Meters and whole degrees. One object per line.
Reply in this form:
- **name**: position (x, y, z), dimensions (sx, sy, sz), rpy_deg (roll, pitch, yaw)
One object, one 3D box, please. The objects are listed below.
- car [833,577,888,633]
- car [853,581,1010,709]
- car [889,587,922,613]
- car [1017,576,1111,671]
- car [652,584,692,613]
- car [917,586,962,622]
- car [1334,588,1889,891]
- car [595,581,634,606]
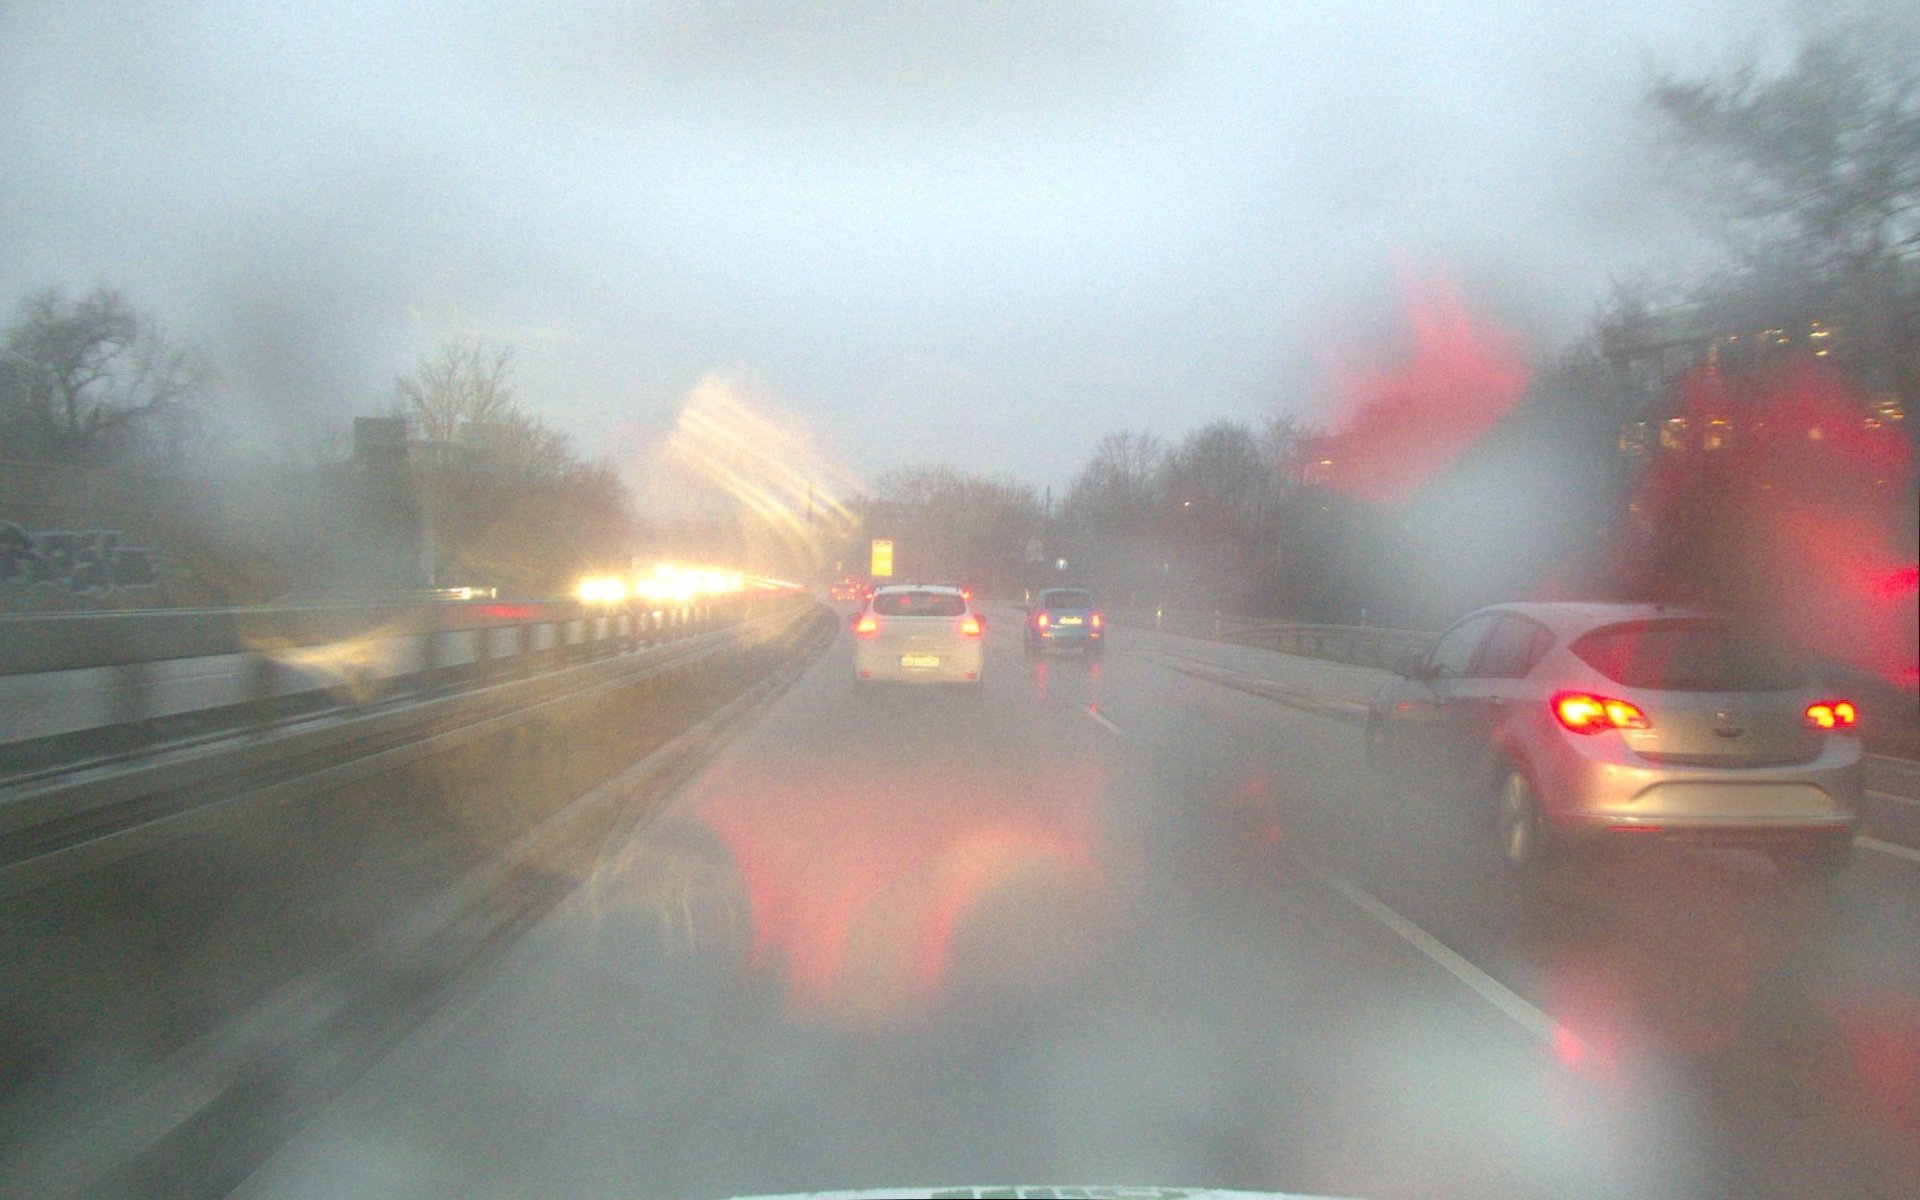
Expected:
- **car**: position (-3.849, 0.168, 63.426), dimensions (1.955, 2.049, 3.996), rpy_deg (1, 0, -5)
- **car**: position (-0.444, 0.568, 23.172), dimensions (1.984, 1.602, 3.998), rpy_deg (1, 0, -3)
- **car**: position (-3.470, 0.020, 104.111), dimensions (1.894, 1.573, 3.770), rpy_deg (1, 0, -4)
- **car**: position (2.357, 0.504, 38.390), dimensions (1.893, 2.054, 3.773), rpy_deg (1, 0, 0)
- **car**: position (-16.934, -0.096, 97.371), dimensions (1.801, 1.583, 4.352), rpy_deg (1, 0, -4)
- **car**: position (-1.042, 0.210, 81.320), dimensions (1.895, 1.573, 3.771), rpy_deg (-5, 0, -4)
- **car**: position (3.834, 0.710, 10.631), dimensions (1.812, 1.528, 4.261), rpy_deg (1, 0, -1)
- **car**: position (-22.544, -0.436, 108.048), dimensions (1.801, 1.583, 4.352), rpy_deg (1, 0, -3)
